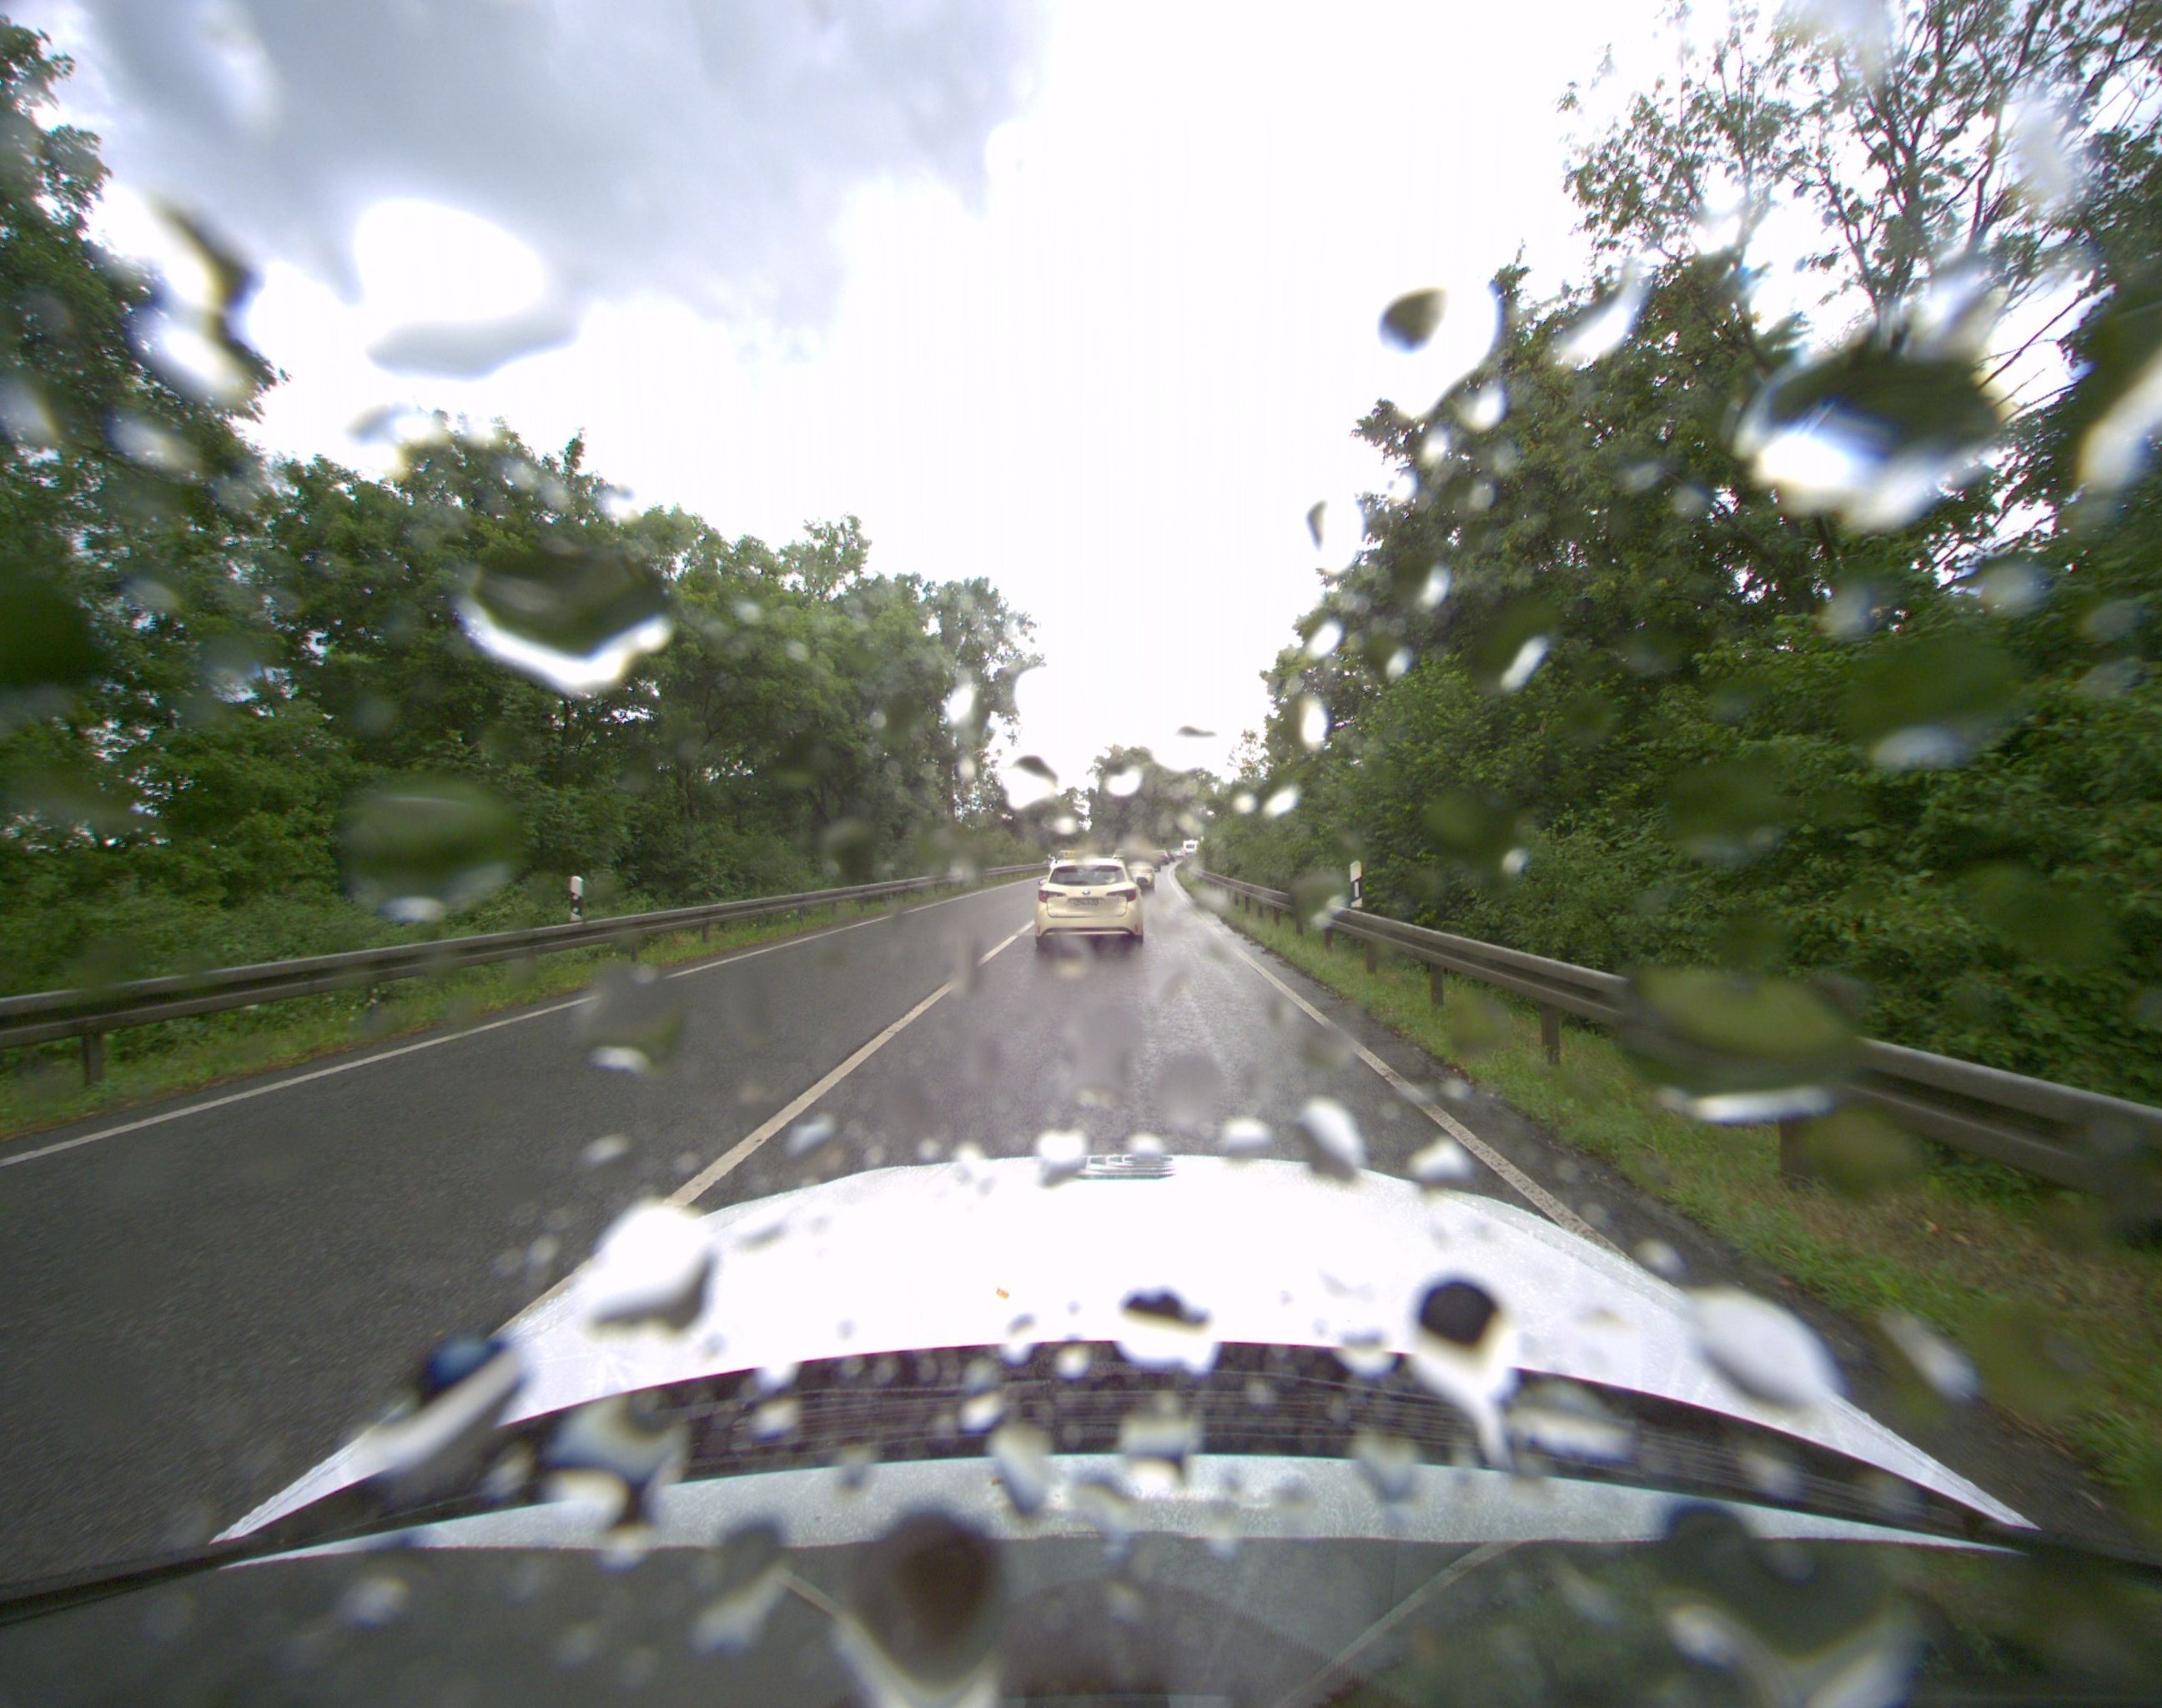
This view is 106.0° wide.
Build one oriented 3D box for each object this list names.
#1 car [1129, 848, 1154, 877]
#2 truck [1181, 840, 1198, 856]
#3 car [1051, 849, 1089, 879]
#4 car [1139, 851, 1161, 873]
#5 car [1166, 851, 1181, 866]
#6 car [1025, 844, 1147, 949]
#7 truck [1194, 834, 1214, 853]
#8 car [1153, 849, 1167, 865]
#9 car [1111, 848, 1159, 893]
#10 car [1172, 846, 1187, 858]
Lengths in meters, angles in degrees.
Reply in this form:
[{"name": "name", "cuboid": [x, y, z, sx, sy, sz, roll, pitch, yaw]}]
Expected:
[{"name": "car", "cuboid": [3.379, 0.486, 45.534, 1.295, 1.547, 3.263, -1, -1, 4]}, {"name": "truck", "cuboid": [18.679, -1.000, 140.064, 2.537, 2.713, 7.545, -1, -1, 5]}, {"name": "car", "cuboid": [-0.549, 0.513, 44.602, 1.799, 1.532, 4.210, -1, 0, 3]}, {"name": "car", "cuboid": [5.191, 0.634, 61.503, 1.604, 1.547, 3.818, -1, -1, 5]}, {"name": "car", "cuboid": [10.762, 0.533, 95.018, 1.607, 1.613, 3.630, -1, -1, 8]}, {"name": "car", "cuboid": [0.188, 0.676, 14.433, 1.826, 1.580, 4.160, -1, -1, 3]}, {"name": "truck", "cuboid": [25.641, -2.096, 169.259, 3.083, 3.680, 7.029, -1, -1, 16]}, {"name": "car", "cuboid": [7.892, 0.278, 80.919, 1.160, 1.547, 2.611, -1, -1, 9]}, {"name": "car", "cuboid": [2.029, 0.601, 30.630, 1.660, 1.580, 3.896, -1, -1, 4]}, {"name": "car", "cuboid": [13.768, -0.294, 113.954, 1.758, 1.547, 3.826, -1, -1, 12]}]
